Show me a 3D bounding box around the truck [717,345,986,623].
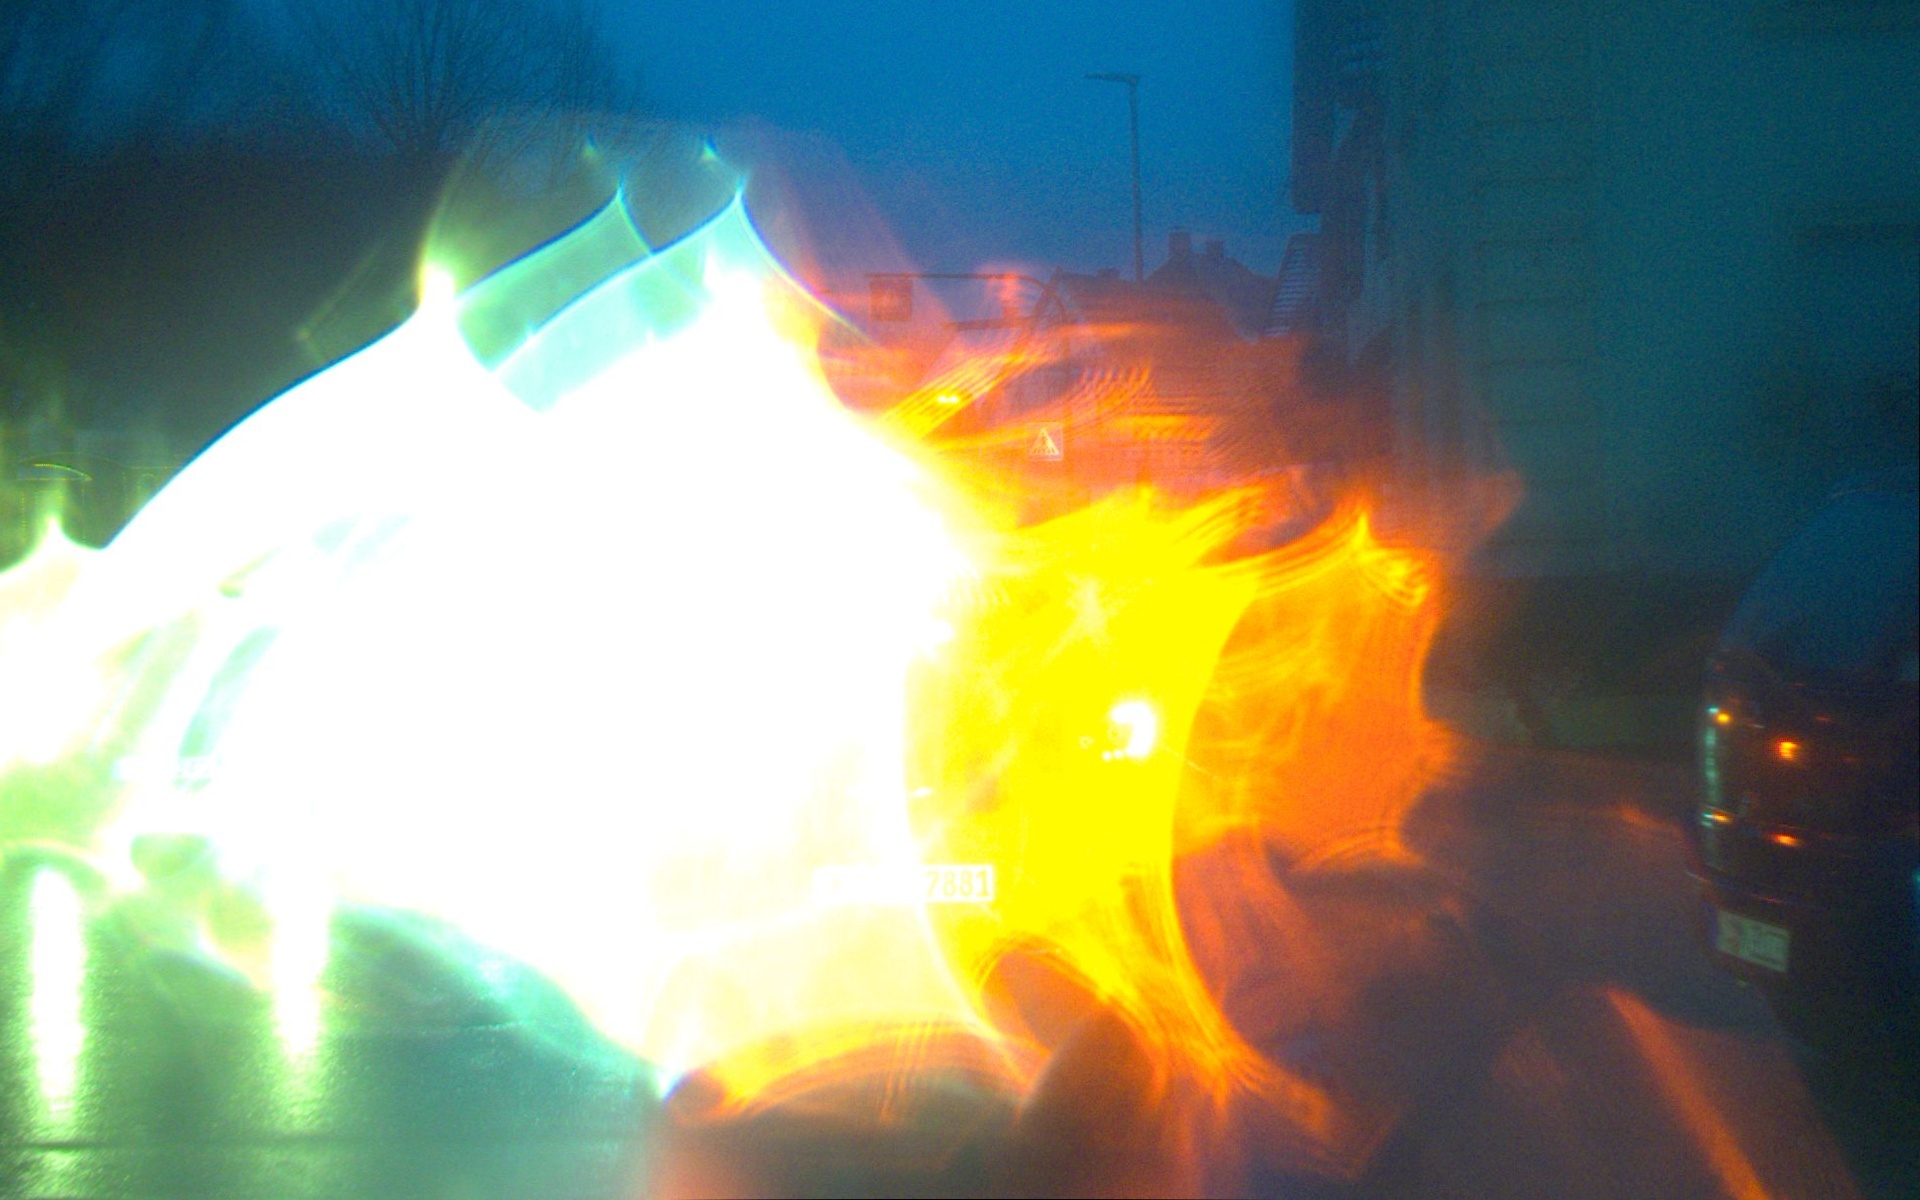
[{"bbox_3d":[-1.434,-1.415,42.867,3.015,3.118,8.001,-1,1,-3],"label":"truck"}]

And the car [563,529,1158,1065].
[{"bbox_3d":[-0.298,0.512,11.207,1.638,1.476,3.379,0,1,-1],"label":"car"}]

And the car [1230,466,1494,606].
[{"bbox_3d":[6.427,-1.024,55.070,4.098,2.144,1.913,-1,1,7],"label":"car"}]

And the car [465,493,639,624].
[{"bbox_3d":[-5.268,-0.571,44.825,1.810,1.590,4.400,-1,2,-1],"label":"car"}]

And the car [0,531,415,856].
[{"bbox_3d":[-3.910,0.413,18.218,1.638,1.530,3.407,-1,1,-3],"label":"car"}]

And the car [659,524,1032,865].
[{"bbox_3d":[-0.565,0.380,16.839,1.638,1.476,3.272,0,2,-2],"label":"car"}]

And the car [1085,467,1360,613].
[{"bbox_3d":[4.050,-0.927,52.766,4.098,2.155,1.913,-1,1,6],"label":"car"}]

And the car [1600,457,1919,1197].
[{"bbox_3d":[3.709,0.407,8.365,3.869,1.574,1.682,-2,1,-6],"label":"car"}]
